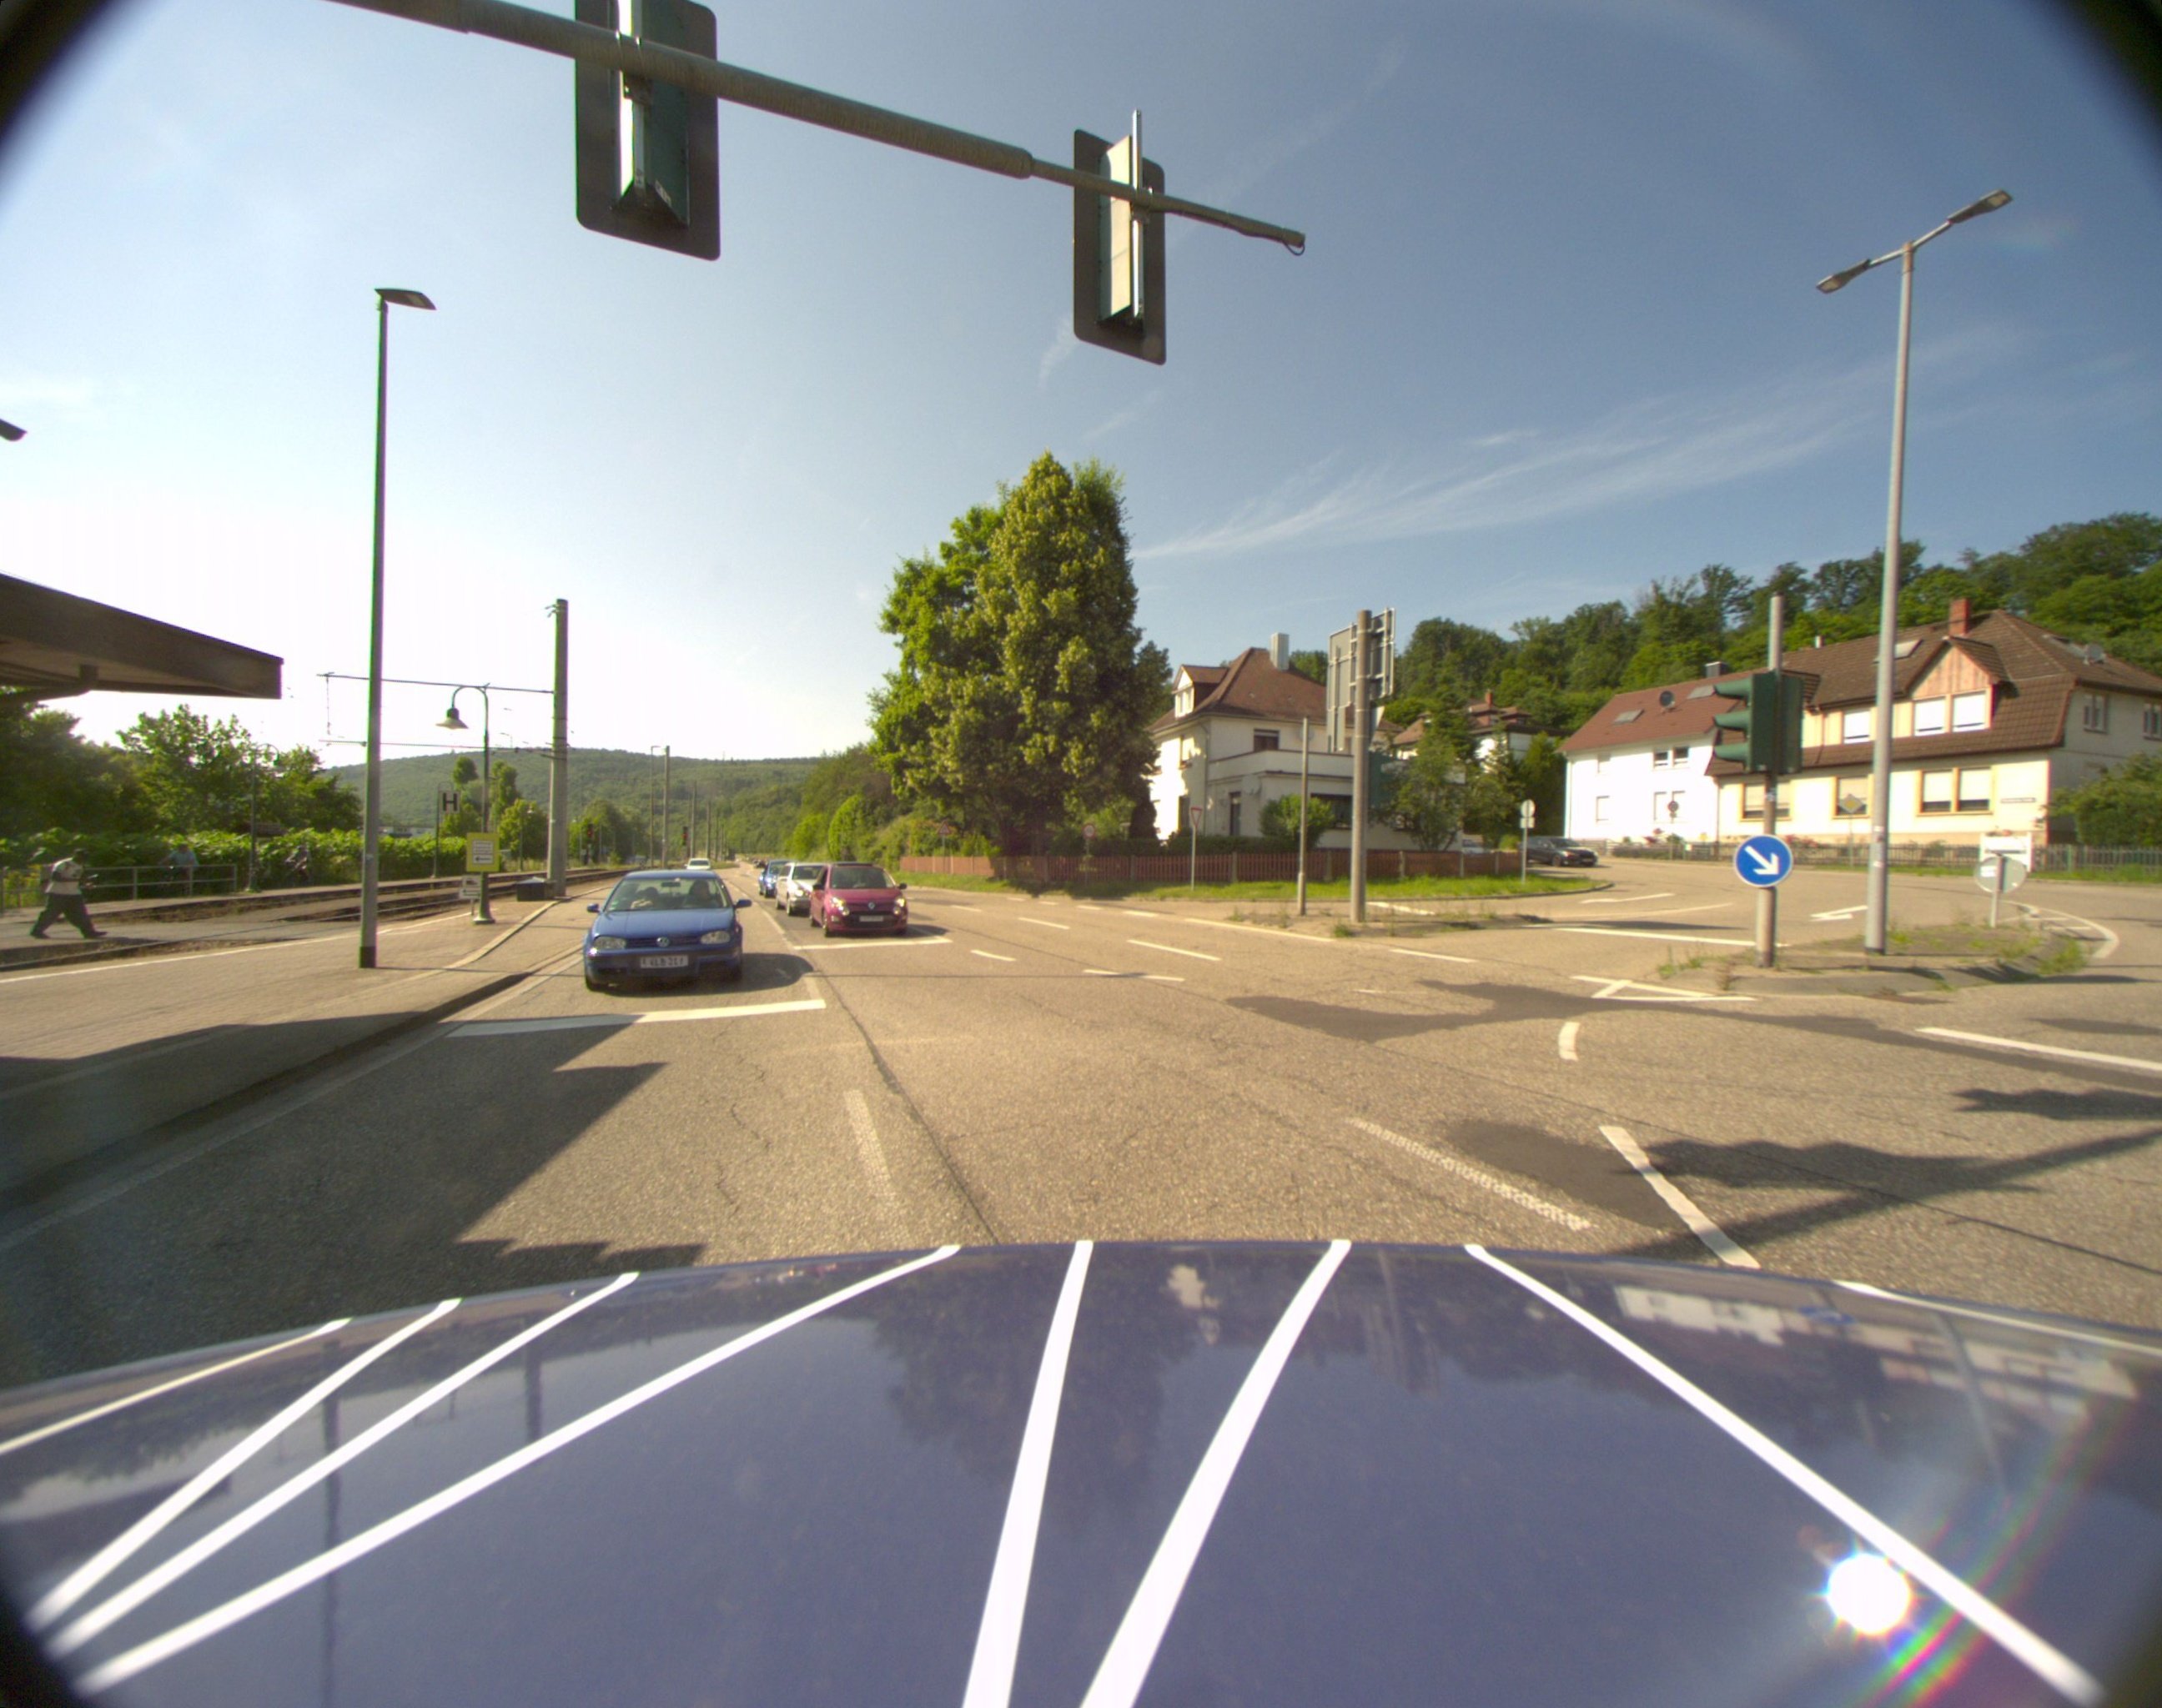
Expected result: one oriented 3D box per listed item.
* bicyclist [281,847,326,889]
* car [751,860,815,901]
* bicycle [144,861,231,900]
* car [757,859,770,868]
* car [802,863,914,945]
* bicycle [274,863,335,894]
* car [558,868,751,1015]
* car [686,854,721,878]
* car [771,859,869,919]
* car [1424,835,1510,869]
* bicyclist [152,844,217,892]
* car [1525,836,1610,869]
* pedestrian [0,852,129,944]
[{"bbox_3d":[-32.460,0.582,31.725,1.011,1.716,0.864,-2,0,-20],"label":"bicyclist"},{"bbox_3d":[-11.999,1.016,30.428,1.983,1.495,3.978,-1,-1,-27],"label":"car"},{"bbox_3d":[-30.303,0.891,25.823,0.874,1.246,2.292,-2,0,-20],"label":"bicycle"},{"bbox_3d":[-65.008,1.910,155.482,2.003,1.674,3.991,-2,0,-30],"label":"car"},{"bbox_3d":[-4.913,0.958,16.393,1.664,1.525,3.947,0,0,-26],"label":"car"},{"bbox_3d":[-32.486,1.013,31.827,0.874,1.246,2.292,-2,0,-20],"label":"bicycle"},{"bbox_3d":[-5.617,0.973,10.384,1.869,1.474,4.292,0,0,-26],"label":"car"},{"bbox_3d":[-26.837,0.846,54.108,2.002,1.576,3.992,-2,0,-24],"label":"car"},{"bbox_3d":[-7.675,0.948,22.021,1.983,1.495,4.741,-1,-1,-27],"label":"car"},{"bbox_3d":[19.885,-0.062,39.331,1.940,1.627,3.997,-2,0,-9],"label":"car"},{"bbox_3d":[-30.287,0.474,25.694,1.011,1.544,1.039,-2,0,-20],"label":"bicyclist"},{"bbox_3d":[24.155,-0.077,37.895,1.997,1.499,4.002,-2,0,6],"label":"car"},{"bbox_3d":[-20.188,0.842,15.098,1.252,1.726,0.915,-2,0,-15],"label":"pedestrian"}]
